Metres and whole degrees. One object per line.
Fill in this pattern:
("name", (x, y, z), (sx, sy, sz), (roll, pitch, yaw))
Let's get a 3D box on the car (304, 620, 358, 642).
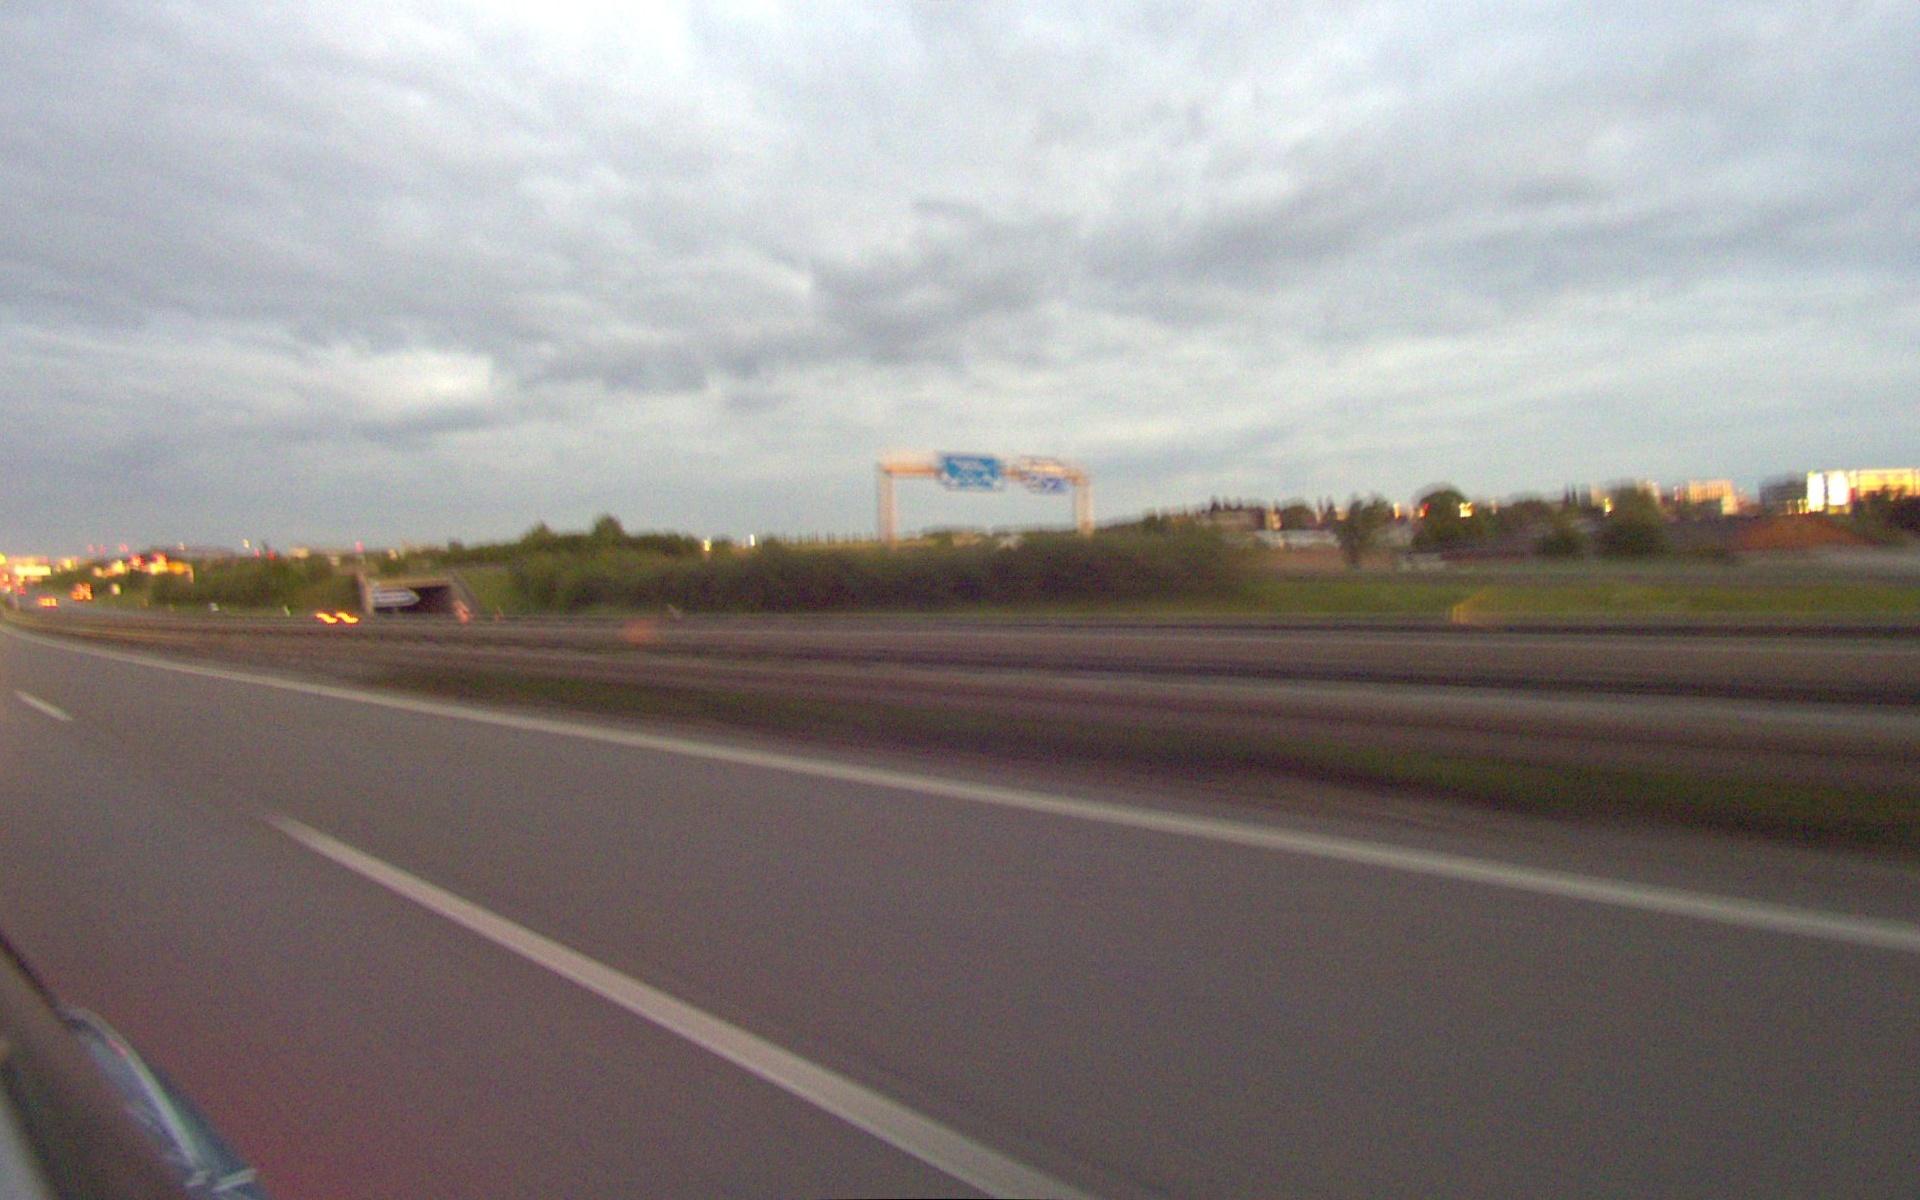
("car", (-43.072, 2.095, 69.270), (4.328, 1.414, 1.973), (-1, 1, 42))
